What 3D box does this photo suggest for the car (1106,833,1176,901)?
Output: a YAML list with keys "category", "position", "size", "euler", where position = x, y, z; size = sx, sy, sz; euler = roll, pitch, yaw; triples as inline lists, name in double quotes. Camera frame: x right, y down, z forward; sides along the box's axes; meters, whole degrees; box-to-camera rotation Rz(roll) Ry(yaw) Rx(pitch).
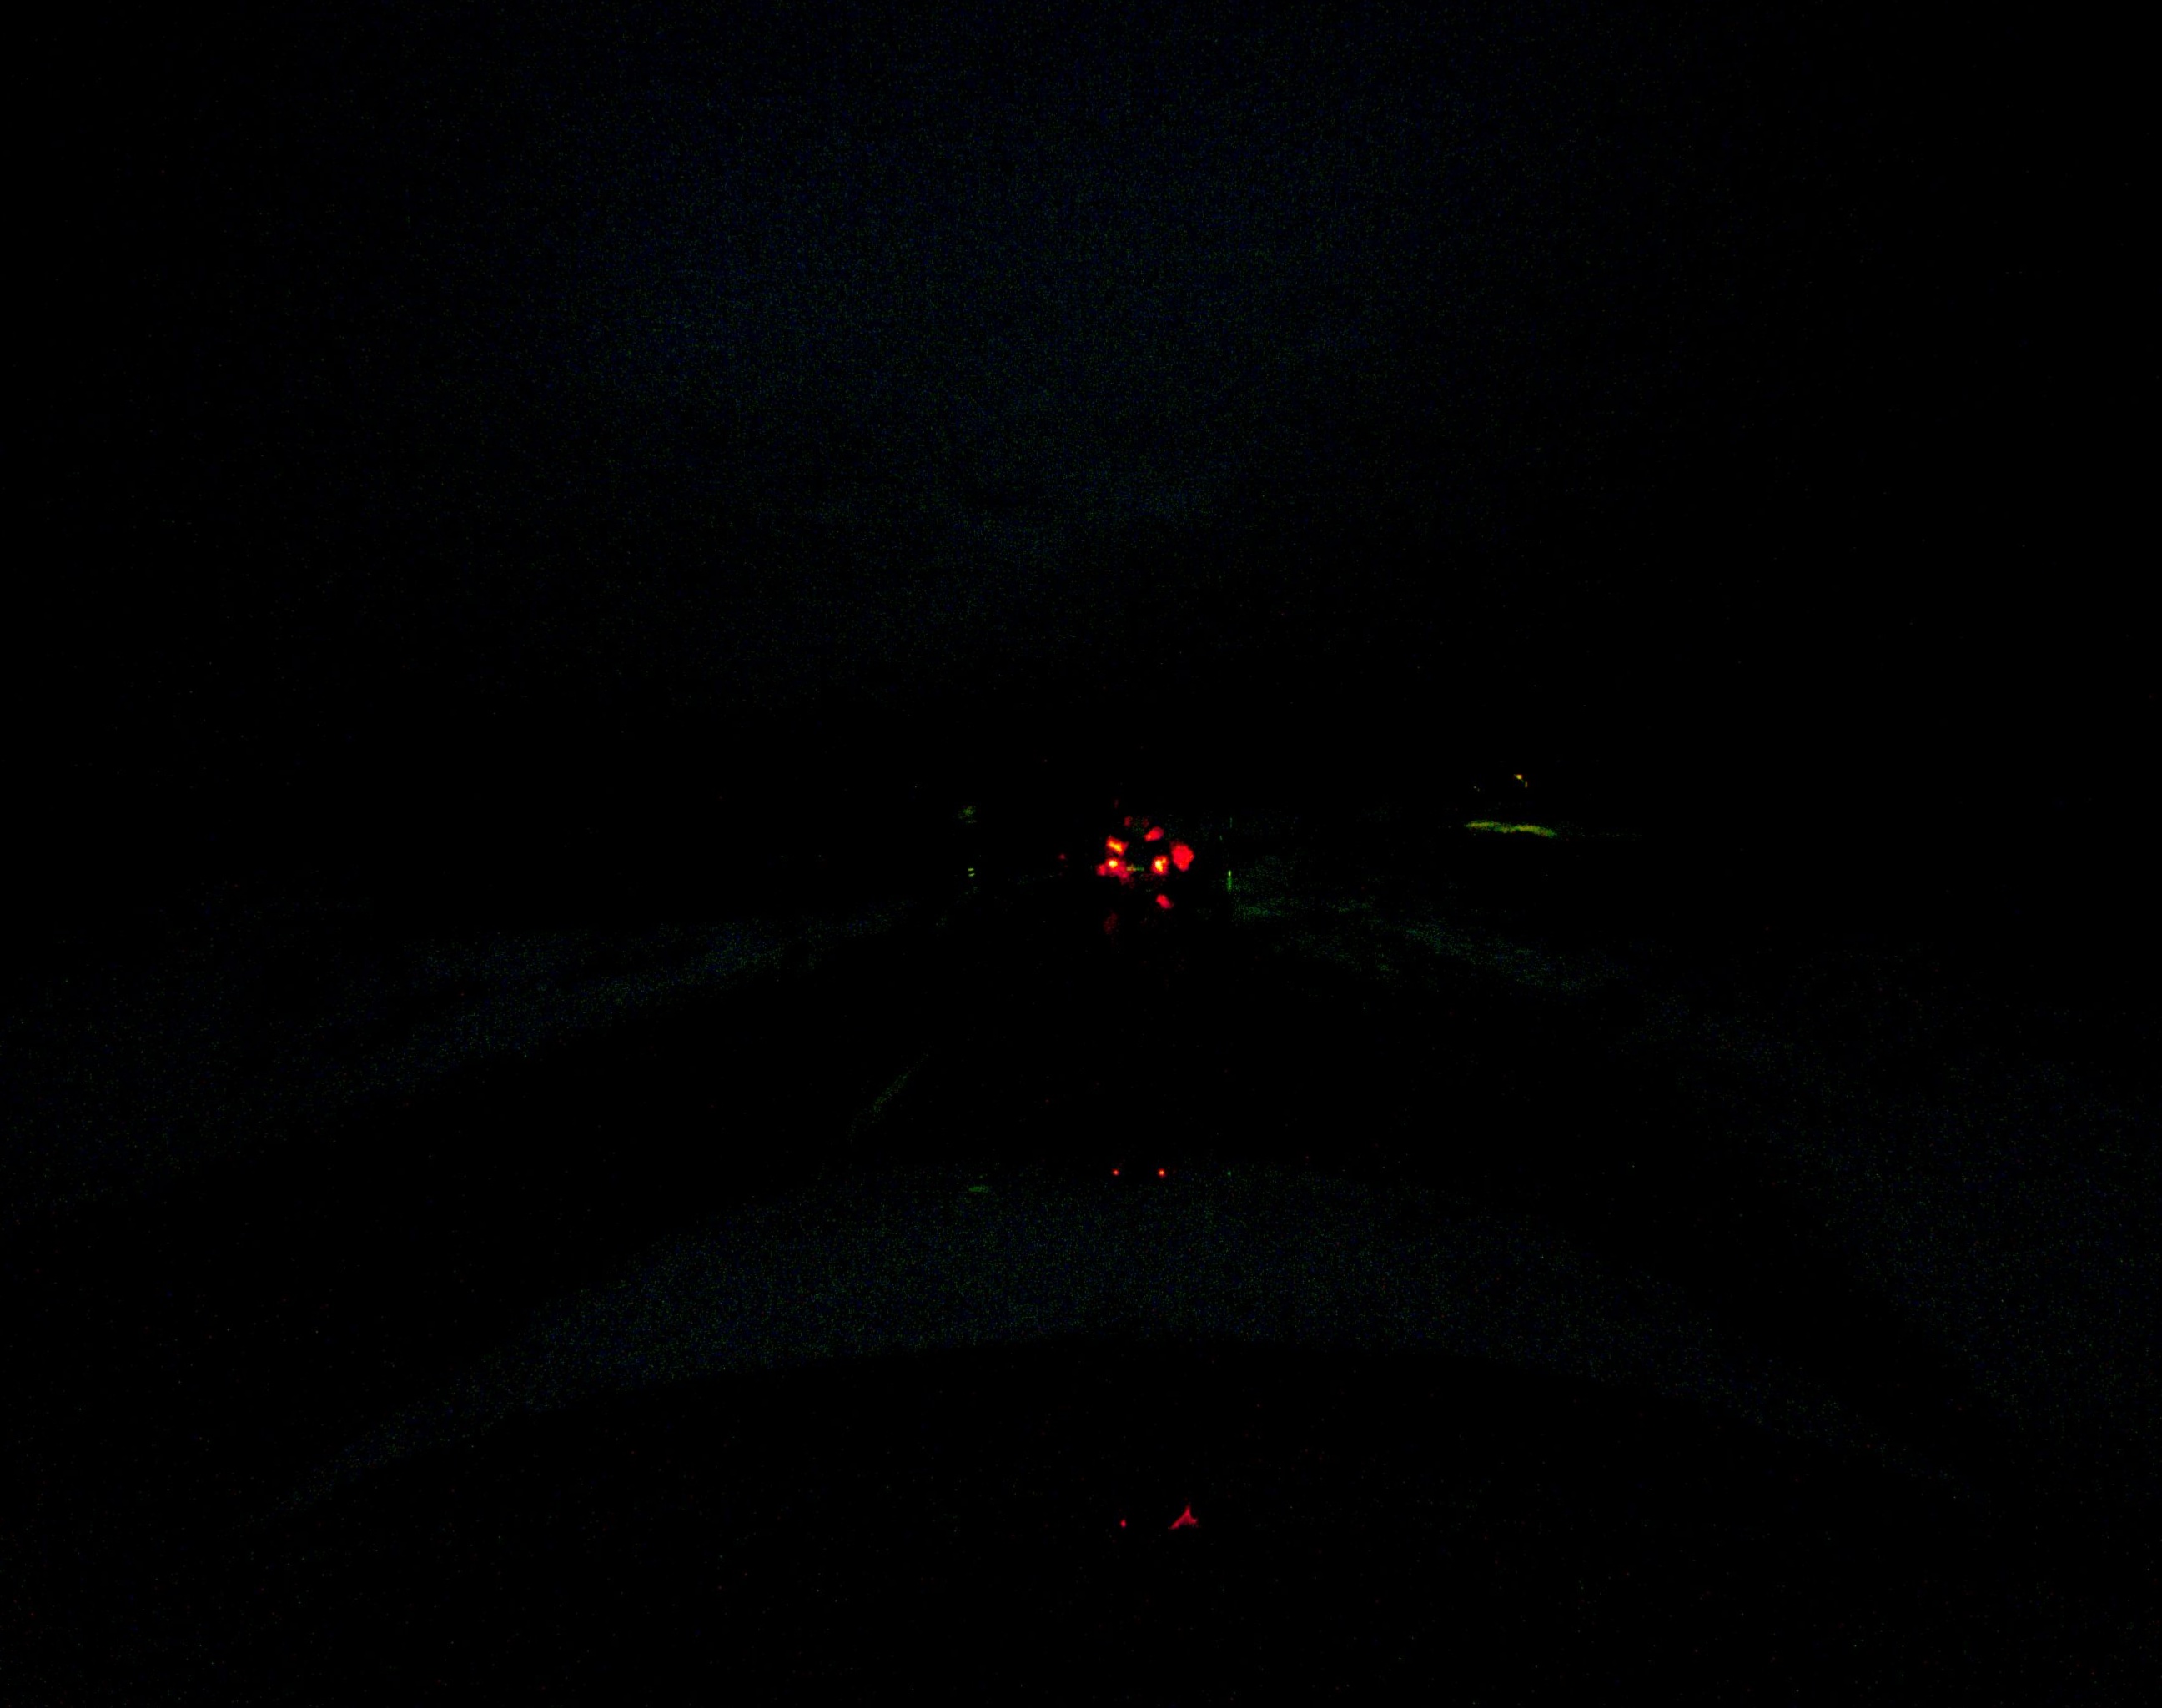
- category: "car"
  position: [1.671, 0.372, 23.872]
  size: [1.816, 1.797, 3.578]
  euler: [-1, -1, 1]
